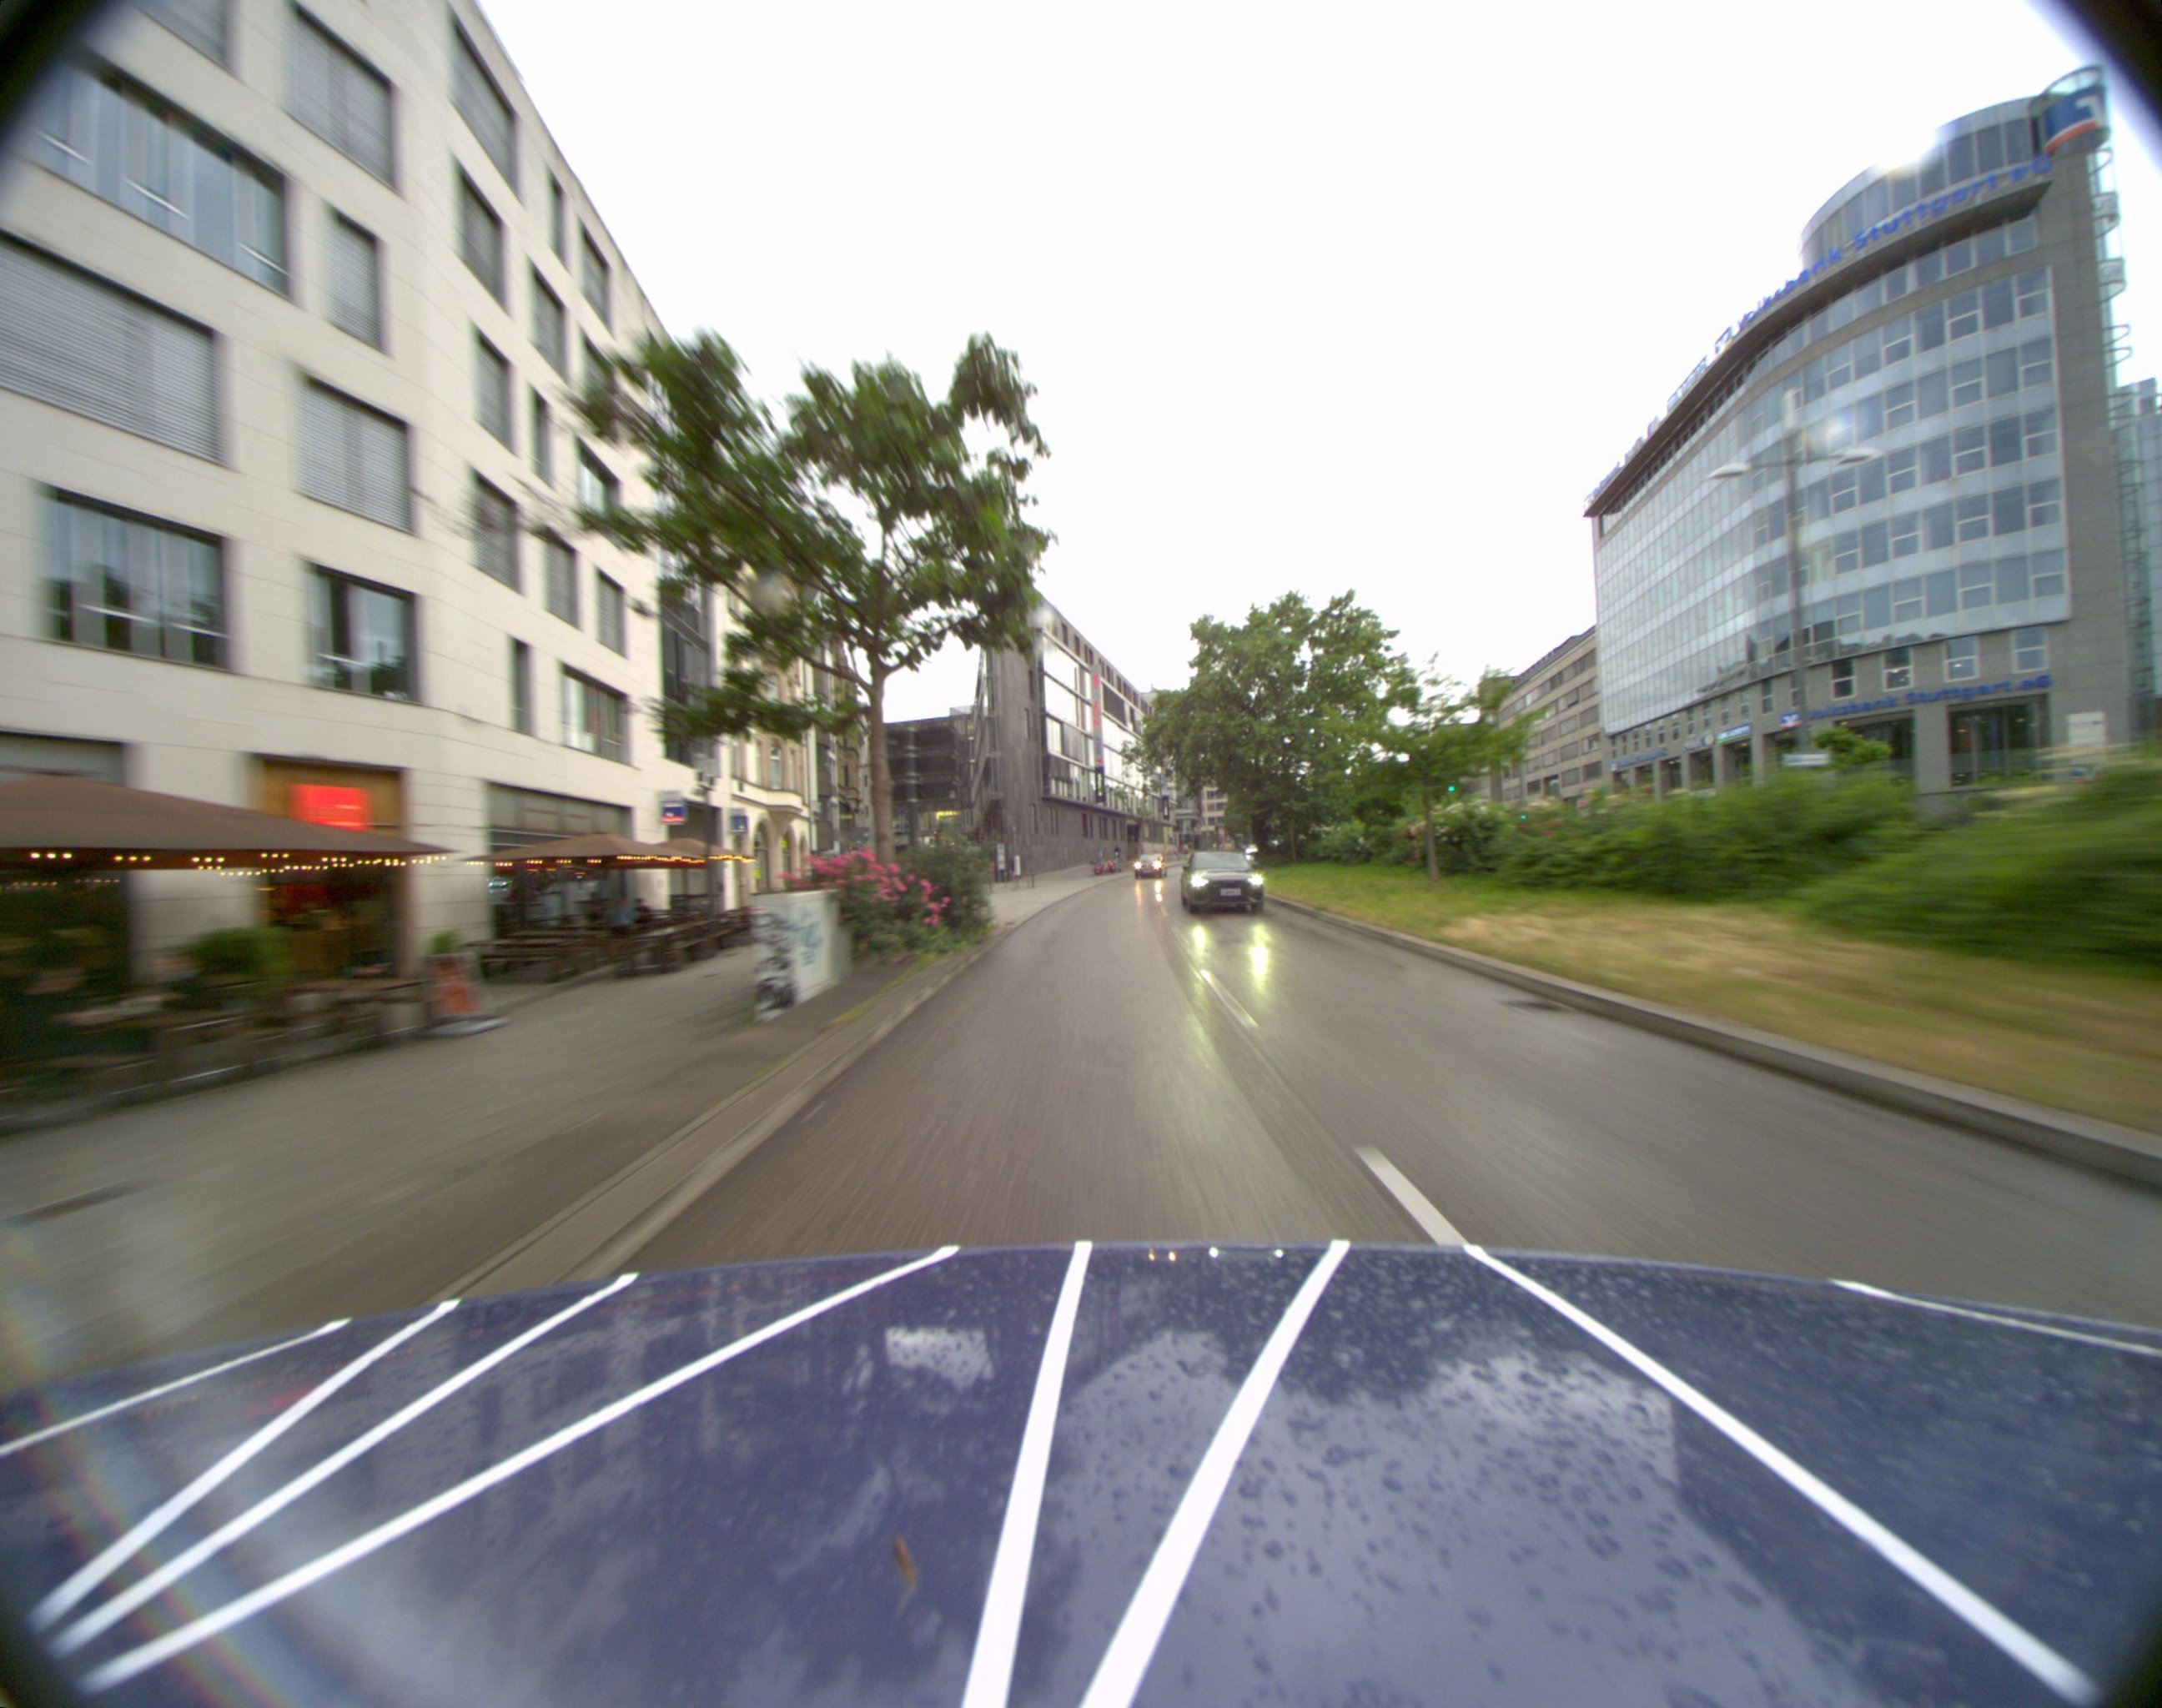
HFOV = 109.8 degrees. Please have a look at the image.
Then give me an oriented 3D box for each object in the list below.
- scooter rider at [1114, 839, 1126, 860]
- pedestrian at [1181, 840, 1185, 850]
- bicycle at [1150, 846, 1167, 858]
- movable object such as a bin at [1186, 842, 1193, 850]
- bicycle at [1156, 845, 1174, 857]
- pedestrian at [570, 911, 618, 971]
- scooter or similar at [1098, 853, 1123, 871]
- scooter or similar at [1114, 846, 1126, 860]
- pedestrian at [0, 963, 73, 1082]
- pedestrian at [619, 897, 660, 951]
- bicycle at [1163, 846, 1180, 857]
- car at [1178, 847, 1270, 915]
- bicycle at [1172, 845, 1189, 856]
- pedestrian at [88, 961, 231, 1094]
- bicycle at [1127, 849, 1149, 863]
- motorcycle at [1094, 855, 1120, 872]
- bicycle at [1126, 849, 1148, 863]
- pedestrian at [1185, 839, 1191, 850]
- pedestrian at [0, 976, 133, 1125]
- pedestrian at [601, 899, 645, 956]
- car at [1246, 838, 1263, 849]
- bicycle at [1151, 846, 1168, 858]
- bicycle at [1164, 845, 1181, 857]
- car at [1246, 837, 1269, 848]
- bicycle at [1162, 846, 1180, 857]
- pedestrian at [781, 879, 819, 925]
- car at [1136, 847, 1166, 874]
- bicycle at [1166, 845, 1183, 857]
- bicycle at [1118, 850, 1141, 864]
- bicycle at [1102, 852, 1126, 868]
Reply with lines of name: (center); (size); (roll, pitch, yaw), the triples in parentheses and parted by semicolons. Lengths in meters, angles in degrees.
scooter rider: (3.802, -0.462, 74.085); (0.778, 2.009, 0.925); (-2, 1, 21)
pedestrian: (16.914, -1.525, 125.860); (0.484, 1.690, 0.580); (-1, 2, 16)
bicycle: (7.632, -0.184, 74.465); (1.537, 1.134, 0.689); (-3, 2, 11)
movable object such as a bin: (17.767, -1.277, 124.206); (0.803, 1.258, 1.790); (-1, 1, 16)
bicycle: (8.379, -0.272, 75.872); (1.709, 1.134, 0.689); (-3, 2, 11)
pedestrian: (-11.651, 2.066, 18.193); (0.629, 1.319, 0.635); (-5, 1, -7)
scooter or similar: (2.276, 0.613, 58.680); (1.795, 1.236, 0.596); (-4, 2, 12)
scooter or similar: (3.826, -0.089, 74.118); (0.778, 1.298, 1.336); (-2, 1, 21)
pedestrian: (-13.159, 2.063, 9.288); (0.818, 1.319, 0.636); (-5, 1, 14)
pedestrian: (-11.750, 1.852, 20.242); (0.629, 1.319, 0.635); (-5, 1, -7)
bicycle: (9.499, -0.288, 79.696); (1.732, 1.134, 0.690); (-2, 1, 11)
car: (3.717, 0.639, 20.443); (1.865, 1.509, 4.346); (-3, 1, 4)
bicycle: (10.887, -0.416, 82.951); (1.732, 1.176, 0.690); (-2, 1, 11)
pedestrian: (-10.378, 1.943, 8.572); (0.818, 1.319, 0.636); (-5, 1, 14)
bicycle: (5.048, 0.160, 67.517); (1.797, 1.062, 0.557); (-4, 2, 13)
motorcycle: (1.990, 0.714, 57.552); (1.795, 1.133, 0.596); (-4, 2, 12)
bicycle: (4.936, 0.196, 66.903); (1.797, 1.062, 0.557); (-4, 2, 13)
pedestrian: (17.665, -1.570, 125.517); (0.722, 1.820, 0.747); (-1, 2, 16)
pedestrian: (-10.415, 1.970, 7.692); (0.818, 1.319, 0.636); (-5, 1, 14)
pedestrian: (-11.693, 1.868, 19.418); (0.629, 1.319, 0.635); (-5, 1, -7)
car: (26.376, -1.600, 115.743); (2.070, 1.578, 4.112); (-5, 0, 18)
bicycle: (7.798, -0.219, 75.188); (1.537, 1.134, 0.689); (-3, 2, 11)
bicycle: (9.711, -0.323, 80.404); (1.732, 1.176, 0.690); (-2, 1, 11)
car: (35.987, -2.315, 155.278); (2.003, 1.801, 4.203); (-5, 0, -38)
bicycle: (9.328, -0.270, 78.819); (1.732, 1.134, 0.690); (-2, 1, 11)
pedestrian: (-8.792, 1.500, 23.766); (0.775, 1.319, 0.636); (-5, 1, 13)
car: (4.231, 0.348, 46.082); (1.594, 1.501, 3.709); (-3, 1, 3)
bicycle: (9.965, -0.342, 81.128); (1.732, 1.176, 0.690); (-2, 1, 11)
bicycle: (4.165, 0.266, 65.247); (1.797, 1.101, 0.670); (-4, 2, 12)
bicycle: (2.633, 0.490, 60.416); (1.797, 1.101, 0.670); (-4, 2, 12)
